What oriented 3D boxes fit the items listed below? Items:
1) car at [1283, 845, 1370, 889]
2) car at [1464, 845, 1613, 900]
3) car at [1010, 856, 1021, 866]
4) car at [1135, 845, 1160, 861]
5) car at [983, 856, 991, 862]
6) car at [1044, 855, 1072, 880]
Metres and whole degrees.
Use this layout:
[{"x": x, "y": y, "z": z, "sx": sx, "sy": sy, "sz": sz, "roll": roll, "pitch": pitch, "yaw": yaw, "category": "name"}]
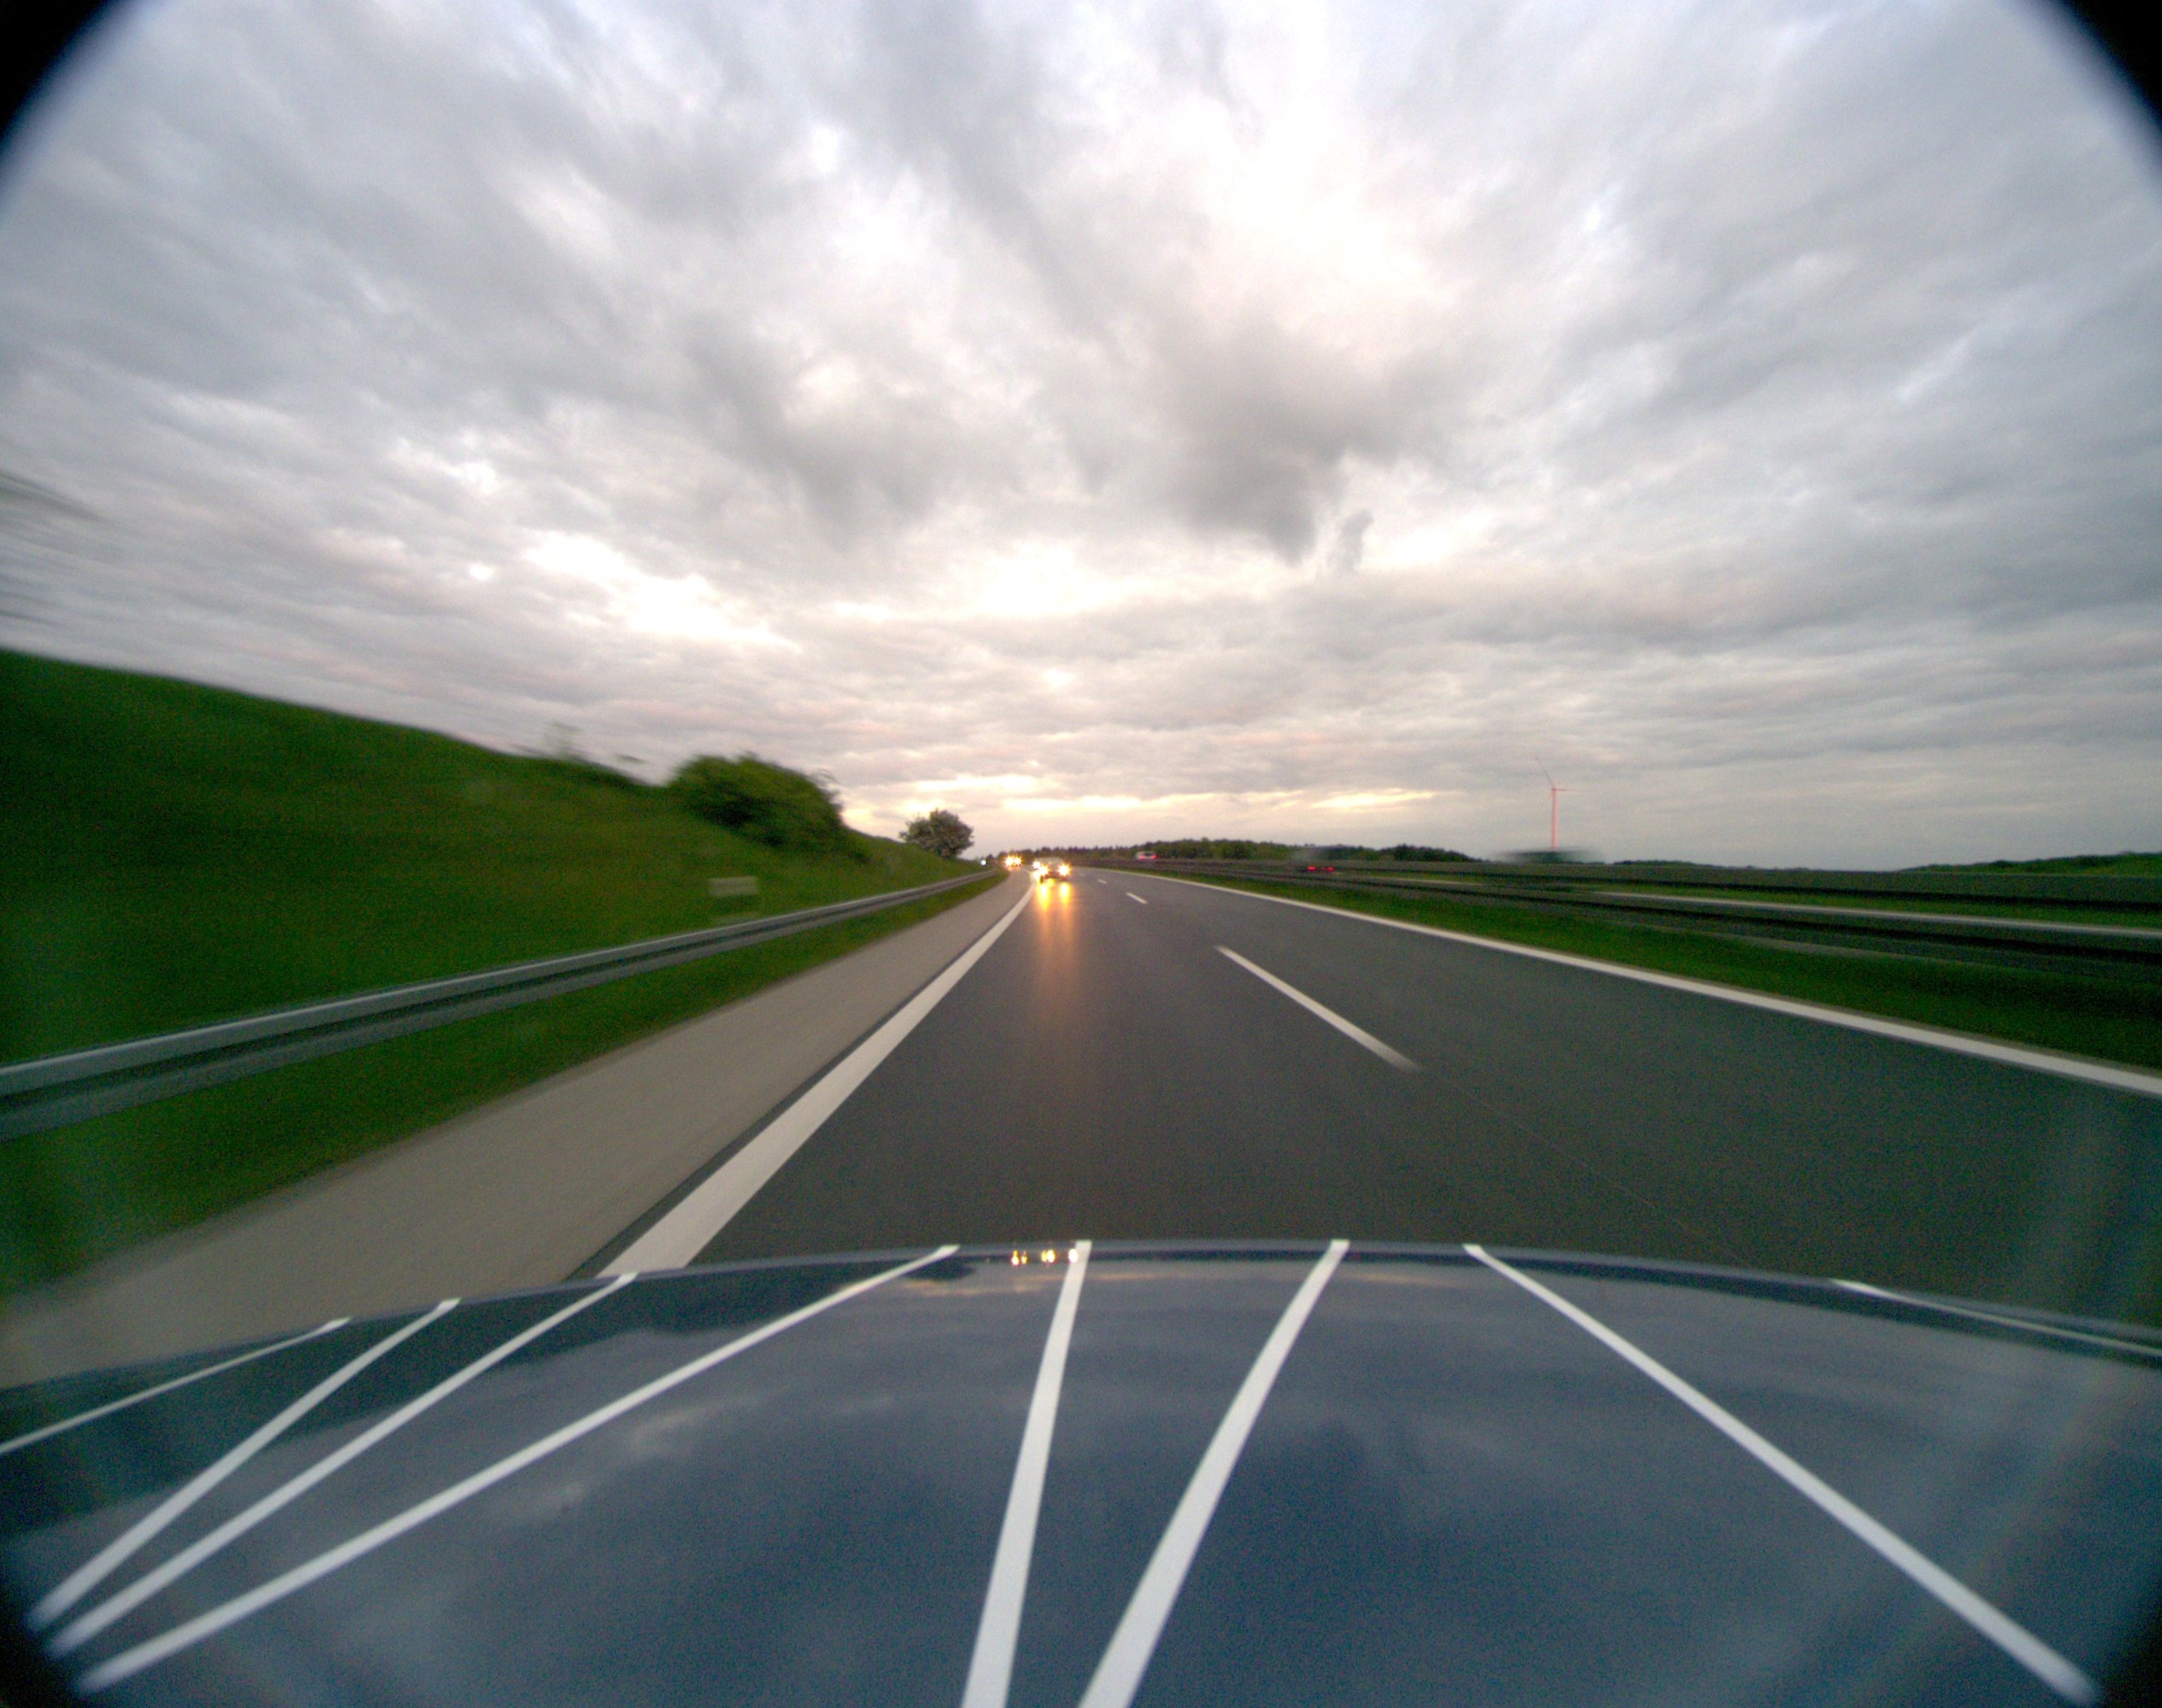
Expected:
[{"x": 11.255, "y": 0.539, "z": 35.307, "sx": 2.108, "sy": 1.861, "sz": 5.129, "roll": -1, "pitch": 0, "yaw": -3, "category": "car"}, {"x": 15.186, "y": 0.563, "z": 25.587, "sx": 2.031, "sy": 1.650, "sz": 4.669, "roll": -1, "pitch": 0, "yaw": -3, "category": "car"}, {"x": -12.434, "y": 1.281, "z": 144.817, "sx": 1.921, "sy": 1.827, "sz": 3.997, "roll": 0, "pitch": 0, "yaw": -7, "category": "car"}, {"x": 9.259, "y": -0.110, "z": 106.195, "sx": 2.289, "sy": 2.002, "sz": 5.254, "roll": 5, "pitch": 0, "yaw": -8, "category": "car"}, {"x": -26.597, "y": 1.333, "z": 214.107, "sx": 1.804, "sy": 1.635, "sz": 4.090, "roll": -1, "pitch": 0, "yaw": -12, "category": "car"}, {"x": -1.509, "y": 0.819, "z": 48.597, "sx": 1.682, "sy": 1.504, "sz": 3.999, "roll": -1, "pitch": 0, "yaw": -3, "category": "car"}]
